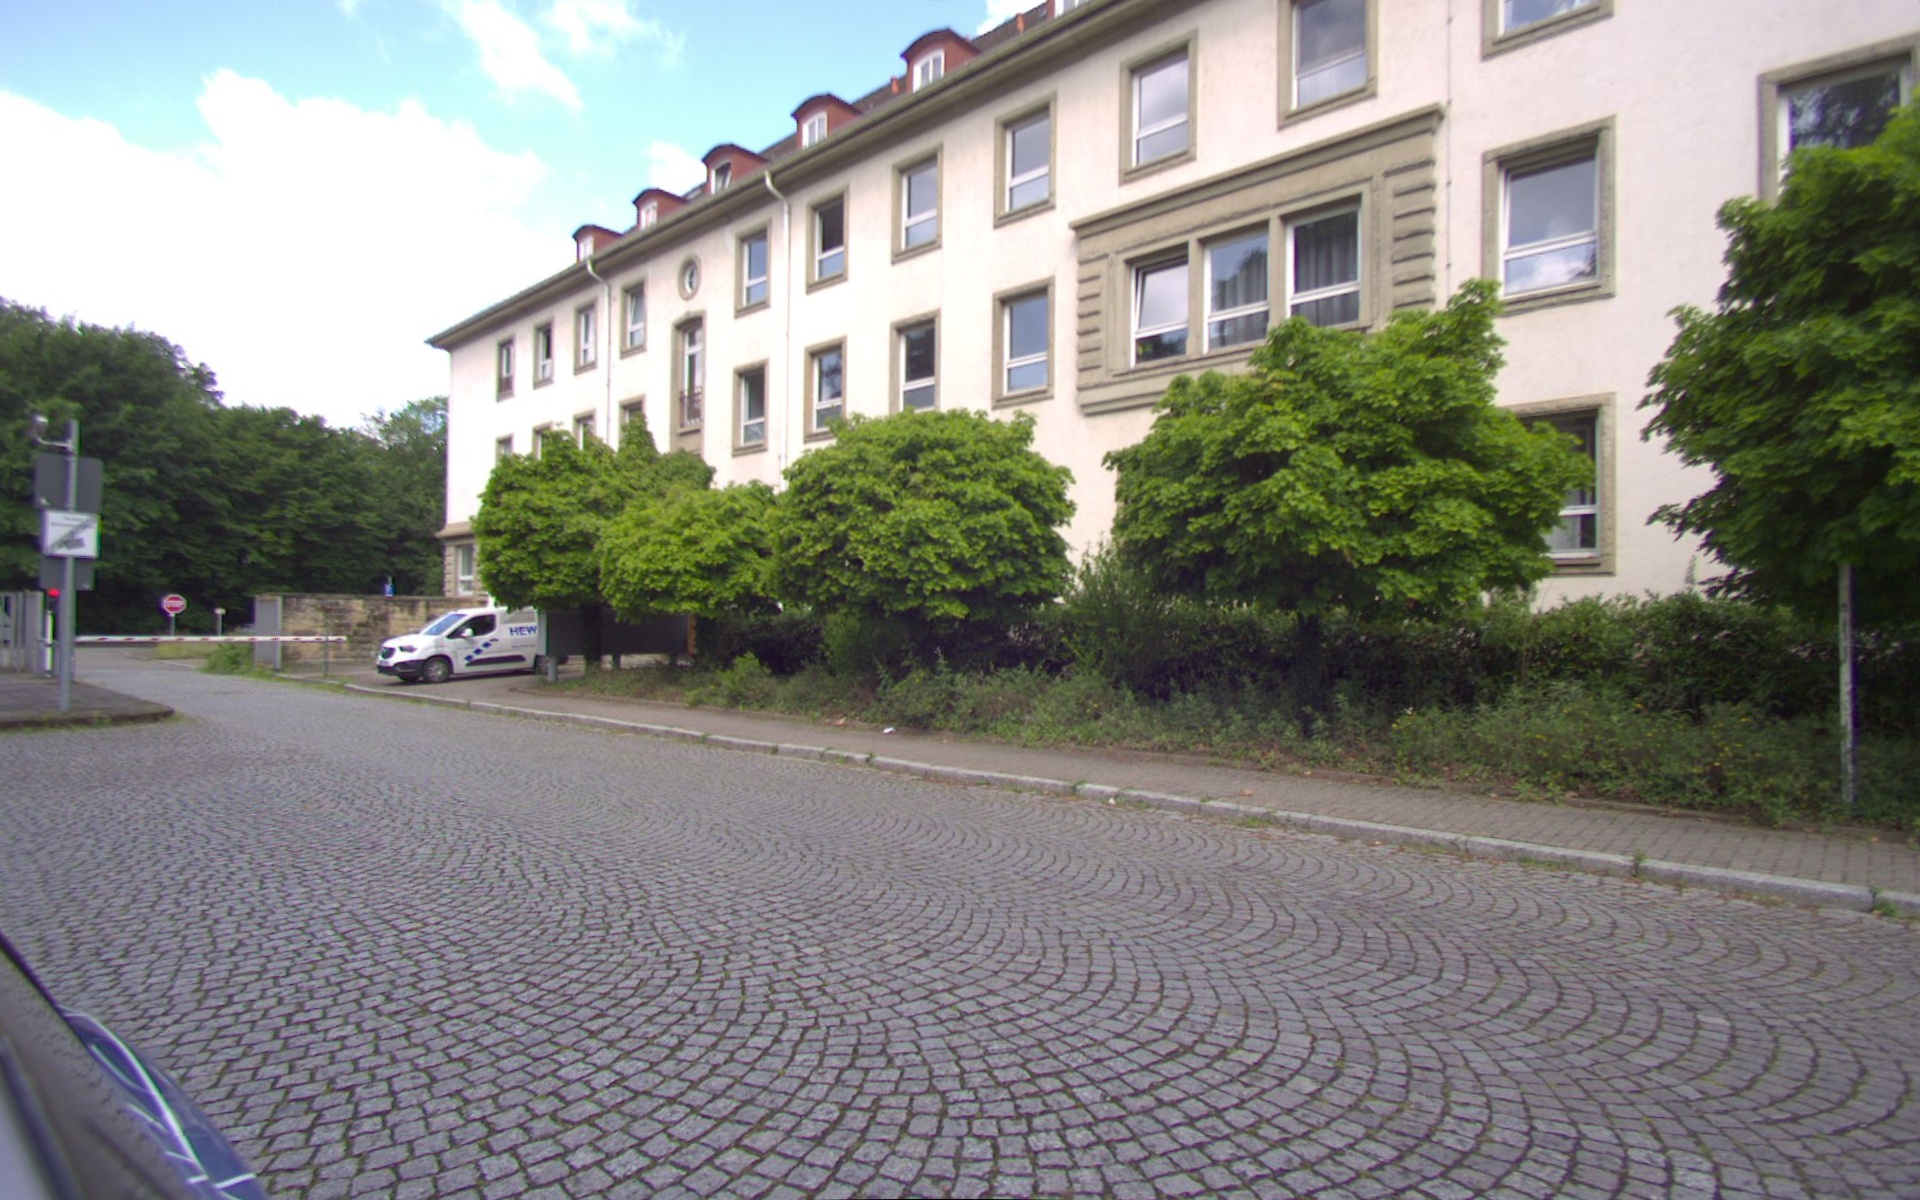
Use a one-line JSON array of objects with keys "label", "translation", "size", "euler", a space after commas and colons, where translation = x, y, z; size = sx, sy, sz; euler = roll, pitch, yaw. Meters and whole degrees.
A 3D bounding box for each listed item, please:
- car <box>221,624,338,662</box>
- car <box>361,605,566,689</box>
[{"label": "car", "translation": [-29.053, 1.797, 43.248], "size": [3.938, 1.529, 1.804], "euler": [1, -2, -42]}, {"label": "car", "translation": [-12.432, 1.091, 25.547], "size": [1.819, 1.819, 4.258], "euler": [0, 1, 40]}]
